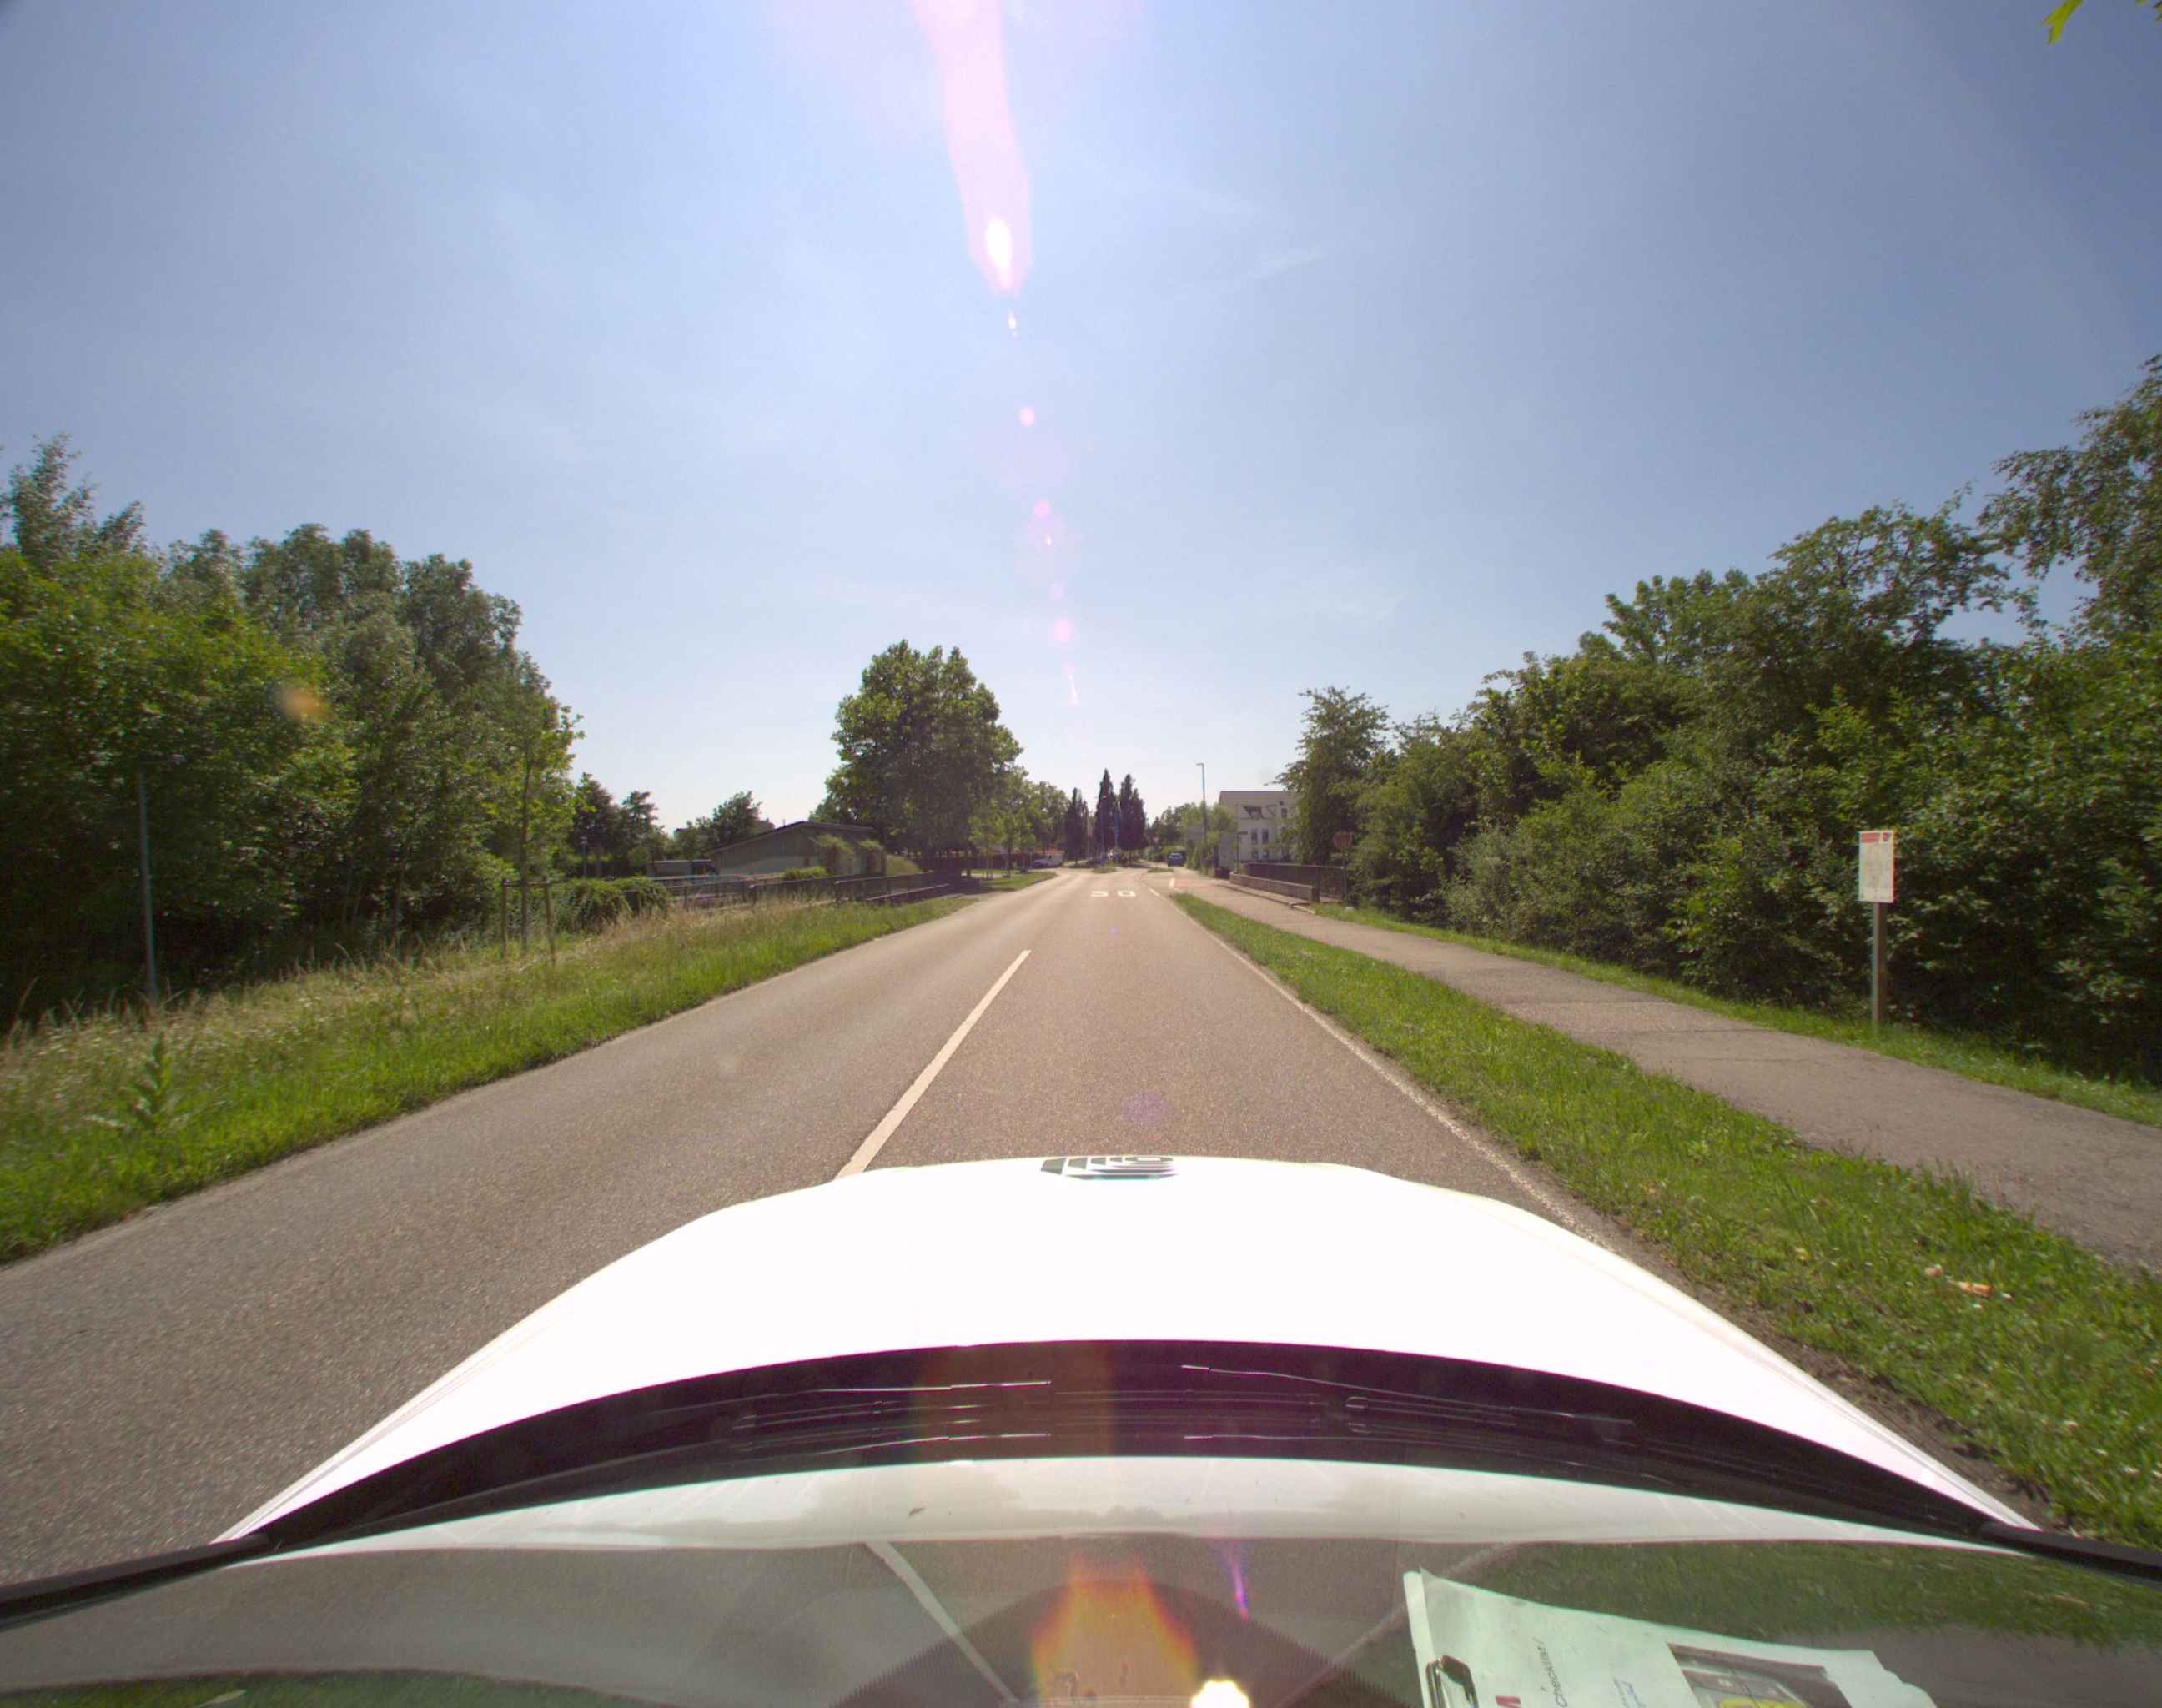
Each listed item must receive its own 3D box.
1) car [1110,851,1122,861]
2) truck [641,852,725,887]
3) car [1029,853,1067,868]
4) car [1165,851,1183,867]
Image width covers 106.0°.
[{"bbox_3d":[6.754,0.328,156.627,1.984,1.770,4.006,-1,0,5],"label":"car"},{"bbox_3d":[-26.787,1.015,55.123,2.976,2.216,5.173,-1,0,2],"label":"truck"},{"bbox_3d":[-4.457,0.879,110.746,2.108,2.014,5.179,-1,-1,43],"label":"car"},{"bbox_3d":[11.803,0.644,103.432,1.916,1.886,4.001,0,-1,2],"label":"car"}]
